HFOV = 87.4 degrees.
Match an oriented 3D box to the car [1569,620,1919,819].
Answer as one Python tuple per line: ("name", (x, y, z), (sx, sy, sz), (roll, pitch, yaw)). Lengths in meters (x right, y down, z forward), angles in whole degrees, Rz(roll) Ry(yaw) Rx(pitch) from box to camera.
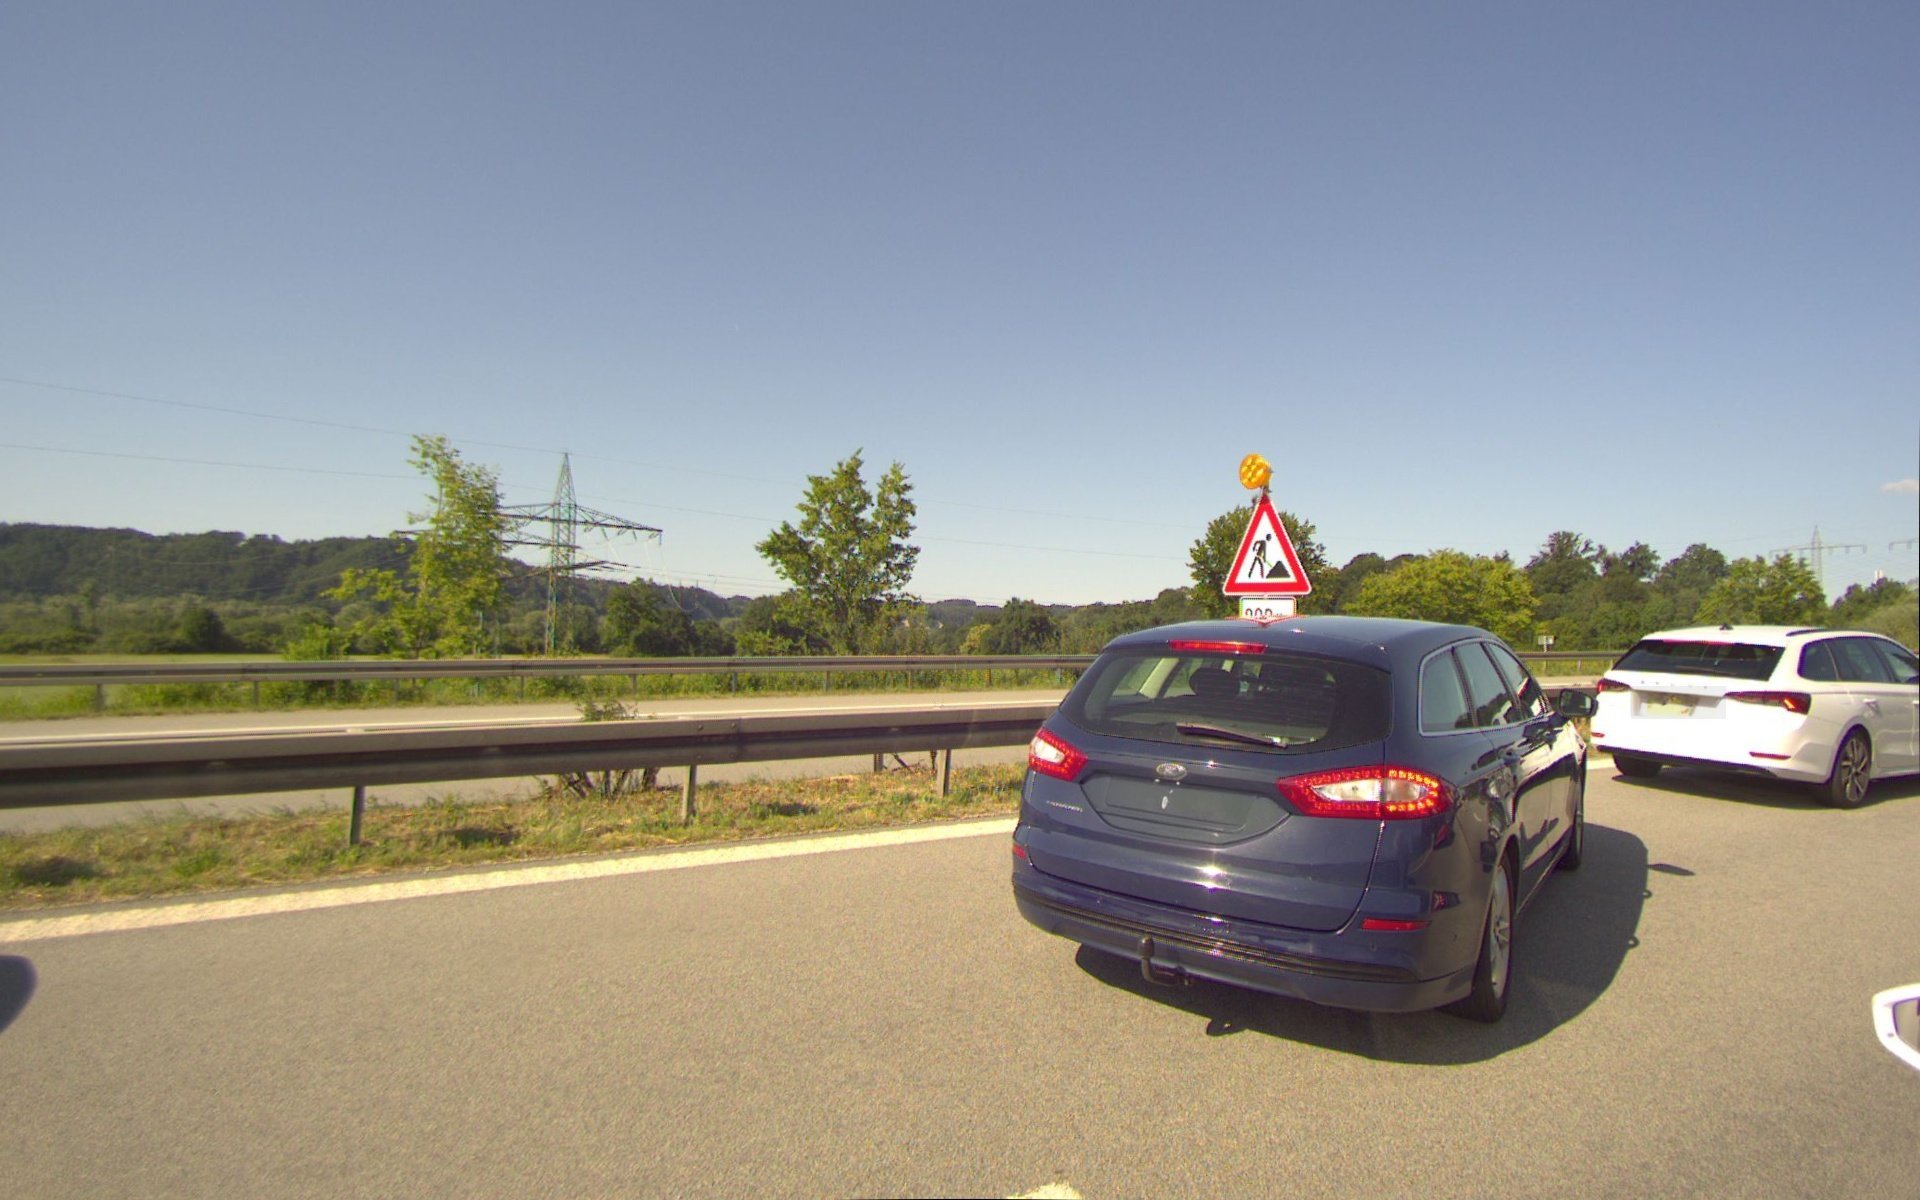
("car", (7.732, 0.962, 9.369), (4.159, 1.461, 1.687), (1, 0, -29))

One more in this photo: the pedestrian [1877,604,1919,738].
("pedestrian", (13.376, 0.957, 13.736), (1.026, 1.786, 1.115), (0, -1, 33))

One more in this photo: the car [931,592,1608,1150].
("car", (1.968, 0.810, 5.054), (1.766, 1.513, 4.474), (0, -2, 38))
